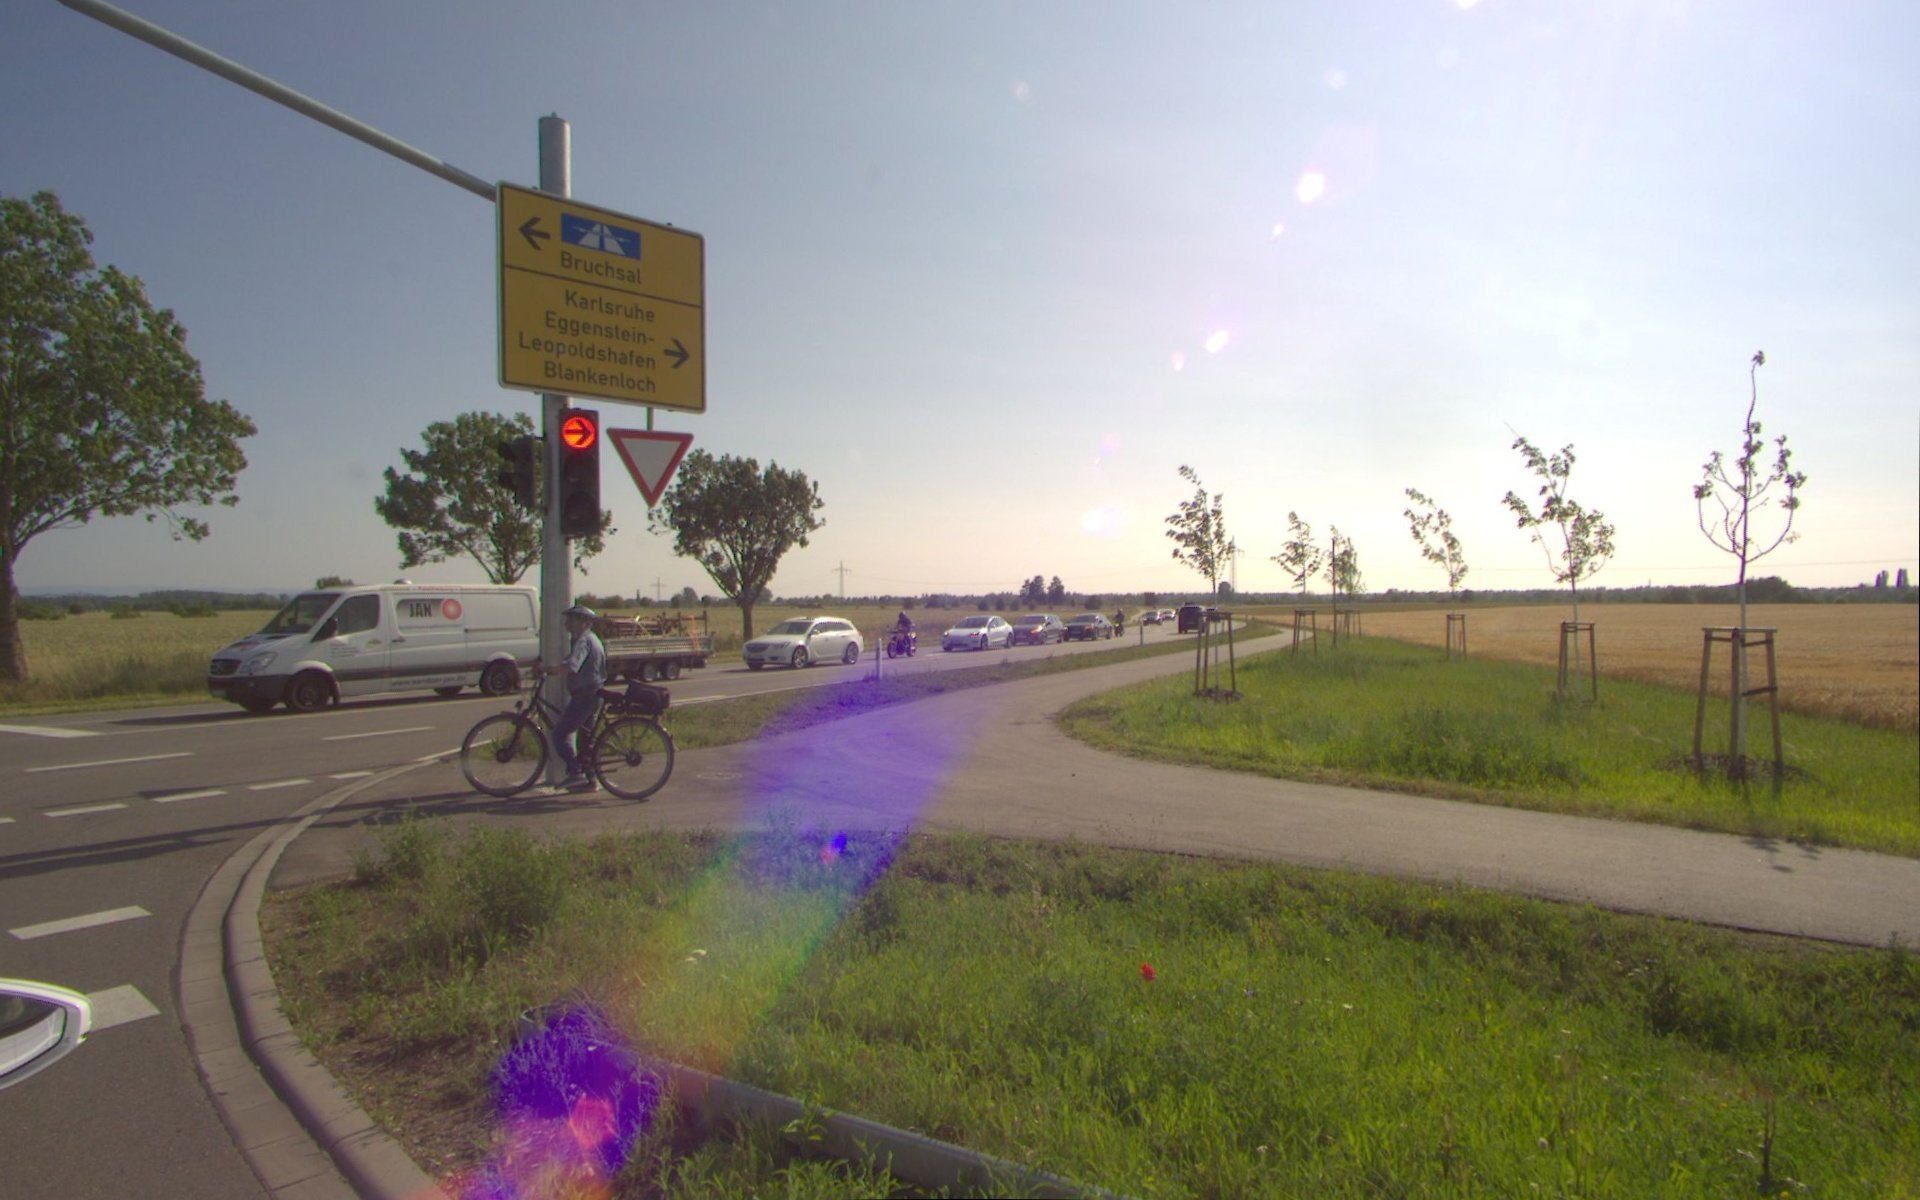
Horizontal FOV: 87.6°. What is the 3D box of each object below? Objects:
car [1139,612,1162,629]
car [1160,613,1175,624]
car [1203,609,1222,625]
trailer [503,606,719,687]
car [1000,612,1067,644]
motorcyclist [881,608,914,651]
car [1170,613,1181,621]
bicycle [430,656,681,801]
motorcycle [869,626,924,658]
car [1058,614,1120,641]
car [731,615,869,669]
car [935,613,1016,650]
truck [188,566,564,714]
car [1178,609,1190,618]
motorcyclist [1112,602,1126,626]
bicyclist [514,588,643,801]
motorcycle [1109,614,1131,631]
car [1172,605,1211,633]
[{"bbox_3d":[20.166,2.190,106.063,1.857,1.646,3.994,-3,-2,18],"label":"car"},{"bbox_3d":[28.438,2.574,137.113,1.605,1.394,4.416,-3,-2,17],"label":"car"},{"bbox_3d":[27.881,1.873,110.446,1.943,1.703,4.102,-1,-1,16],"label":"car"},{"bbox_3d":[-8.378,1.065,24.582,1.951,1.760,4.991,-1,-1,28],"label":"trailer"},{"bbox_3d":[3.661,1.353,49.143,1.866,1.480,4.292,-1,-1,25],"label":"car"},{"bbox_3d":[-2.276,1.065,36.473,0.670,1.535,1.176,-1,0,27],"label":"motorcyclist"},{"bbox_3d":[47.402,3.827,220.202,1.899,1.715,3.887,0,-2,8],"label":"car"},{"bbox_3d":[-3.489,1.120,8.813,1.910,1.165,0.681,3,-2,-13],"label":"bicycle"},{"bbox_3d":[-2.293,1.508,36.535,0.885,1.057,2.419,-1,0,26],"label":"motorcycle"},{"bbox_3d":[7.204,1.492,55.490,1.866,1.455,4.779,-1,-1,27],"label":"car"},{"bbox_3d":[-4.834,1.245,30.916,1.738,1.511,4.689,-1,-1,28],"label":"car"},{"bbox_3d":[0.737,1.312,42.909,1.866,1.485,4.261,-1,-1,26],"label":"car"},{"bbox_3d":[-11.084,0.706,19.696,2.041,2.436,6.168,-1,-1,31],"label":"truck"},{"bbox_3d":[44.629,2.682,199.638,1.899,1.822,3.886,0,-2,8],"label":"car"},{"bbox_3d":[10.028,0.891,63.113,0.669,1.515,0.844,-1,0,25],"label":"motorcyclist"},{"bbox_3d":[-3.338,0.822,8.835,0.901,1.787,0.619,3,-2,-13],"label":"bicyclist"},{"bbox_3d":[10.075,1.413,63.097,0.859,1.087,1.962,-1,0,25],"label":"motorcycle"},{"bbox_3d":[15.798,1.304,68.232,1.815,1.857,4.454,0,-1,24],"label":"car"}]
